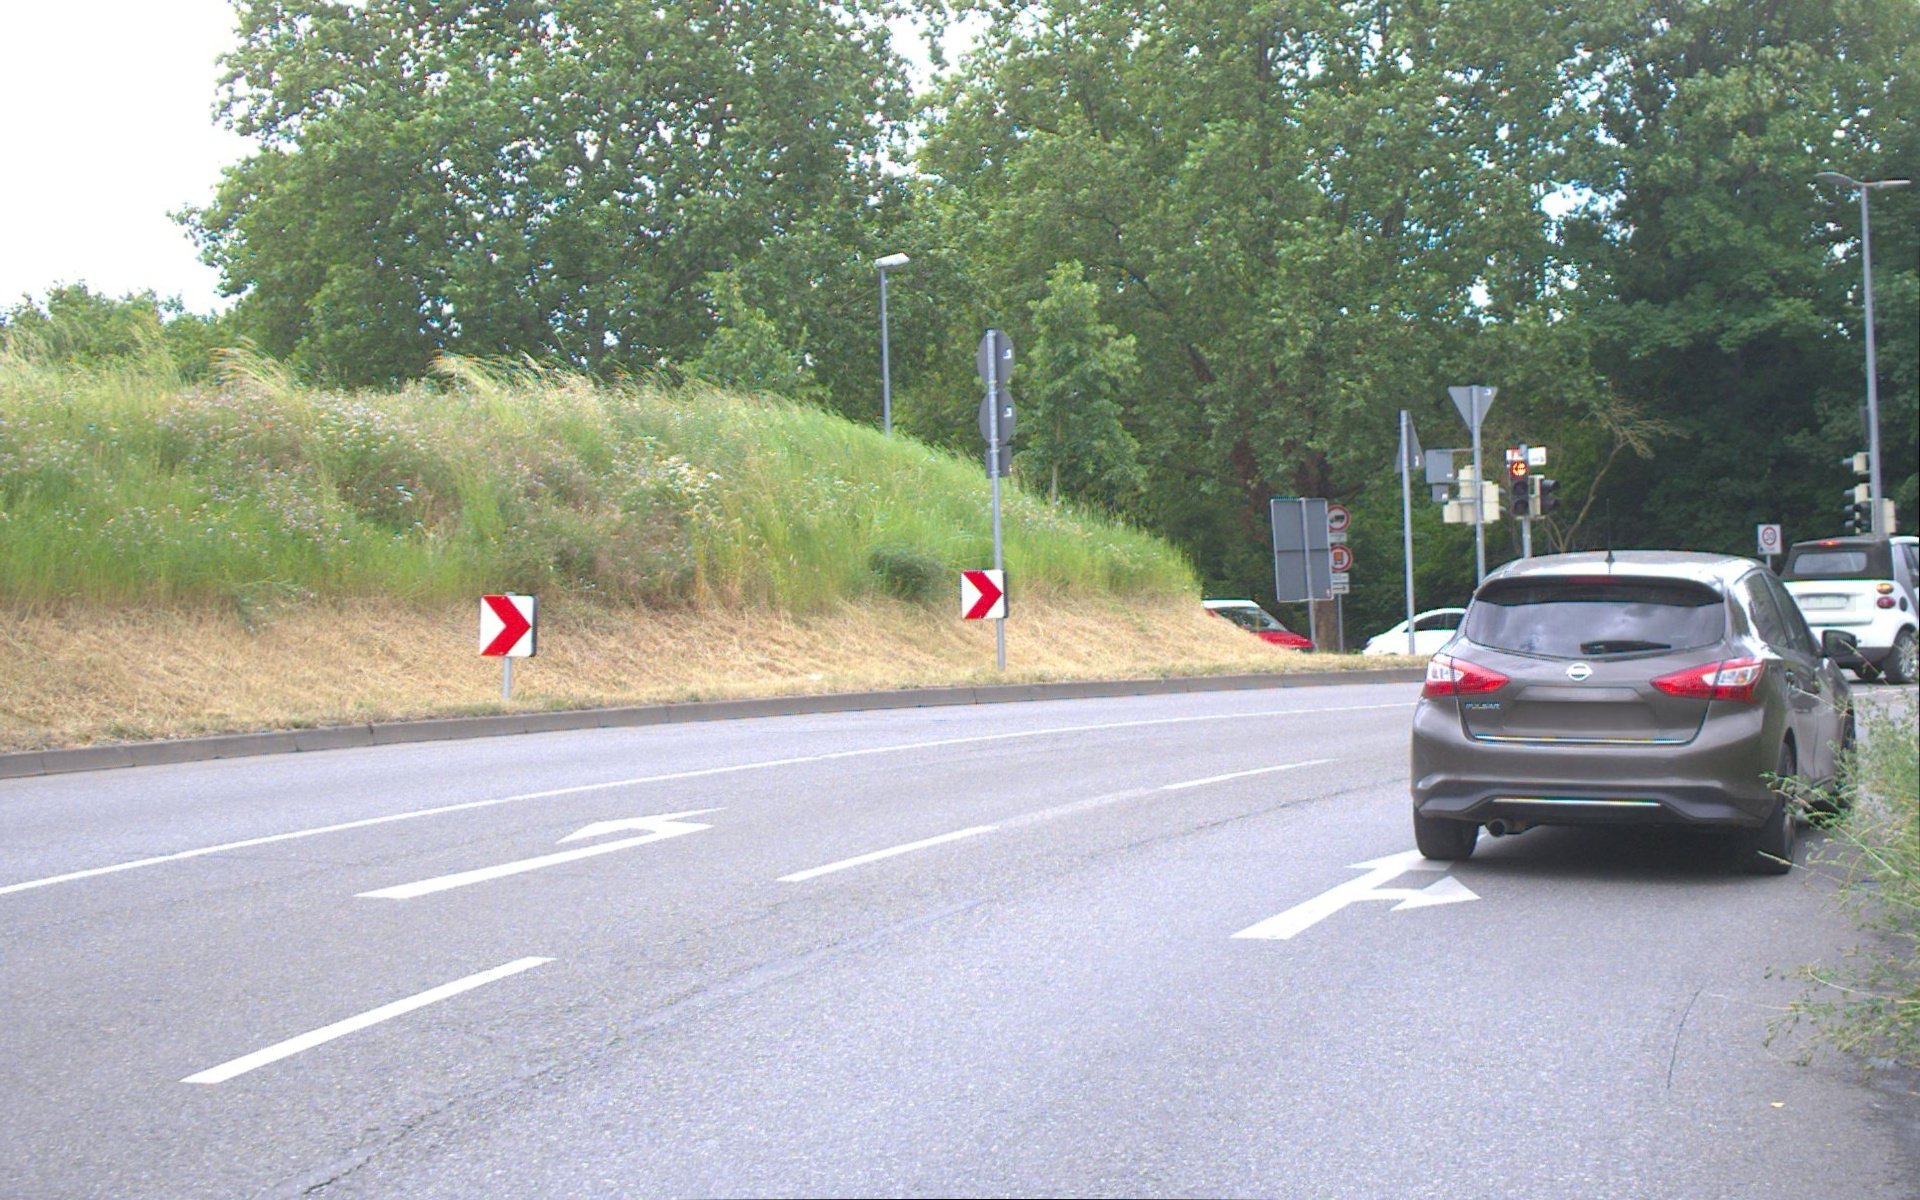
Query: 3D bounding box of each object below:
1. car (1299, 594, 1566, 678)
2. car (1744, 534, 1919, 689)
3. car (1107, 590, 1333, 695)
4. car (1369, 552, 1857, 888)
[{"bbox_3d":[8.382,0.671,61.264,1.994,1.334,4.416,2,-4,-44],"label":"car"},{"bbox_3d":[9.772,0.099,36.431,1.579,1.552,3.009,1,1,42],"label":"car"},{"bbox_3d":[4.947,0.831,65.695,1.850,1.807,4.036,-1,-3,-44],"label":"car"},{"bbox_3d":[3.462,0.509,17.649,1.846,1.488,3.996,1,1,20],"label":"car"}]
